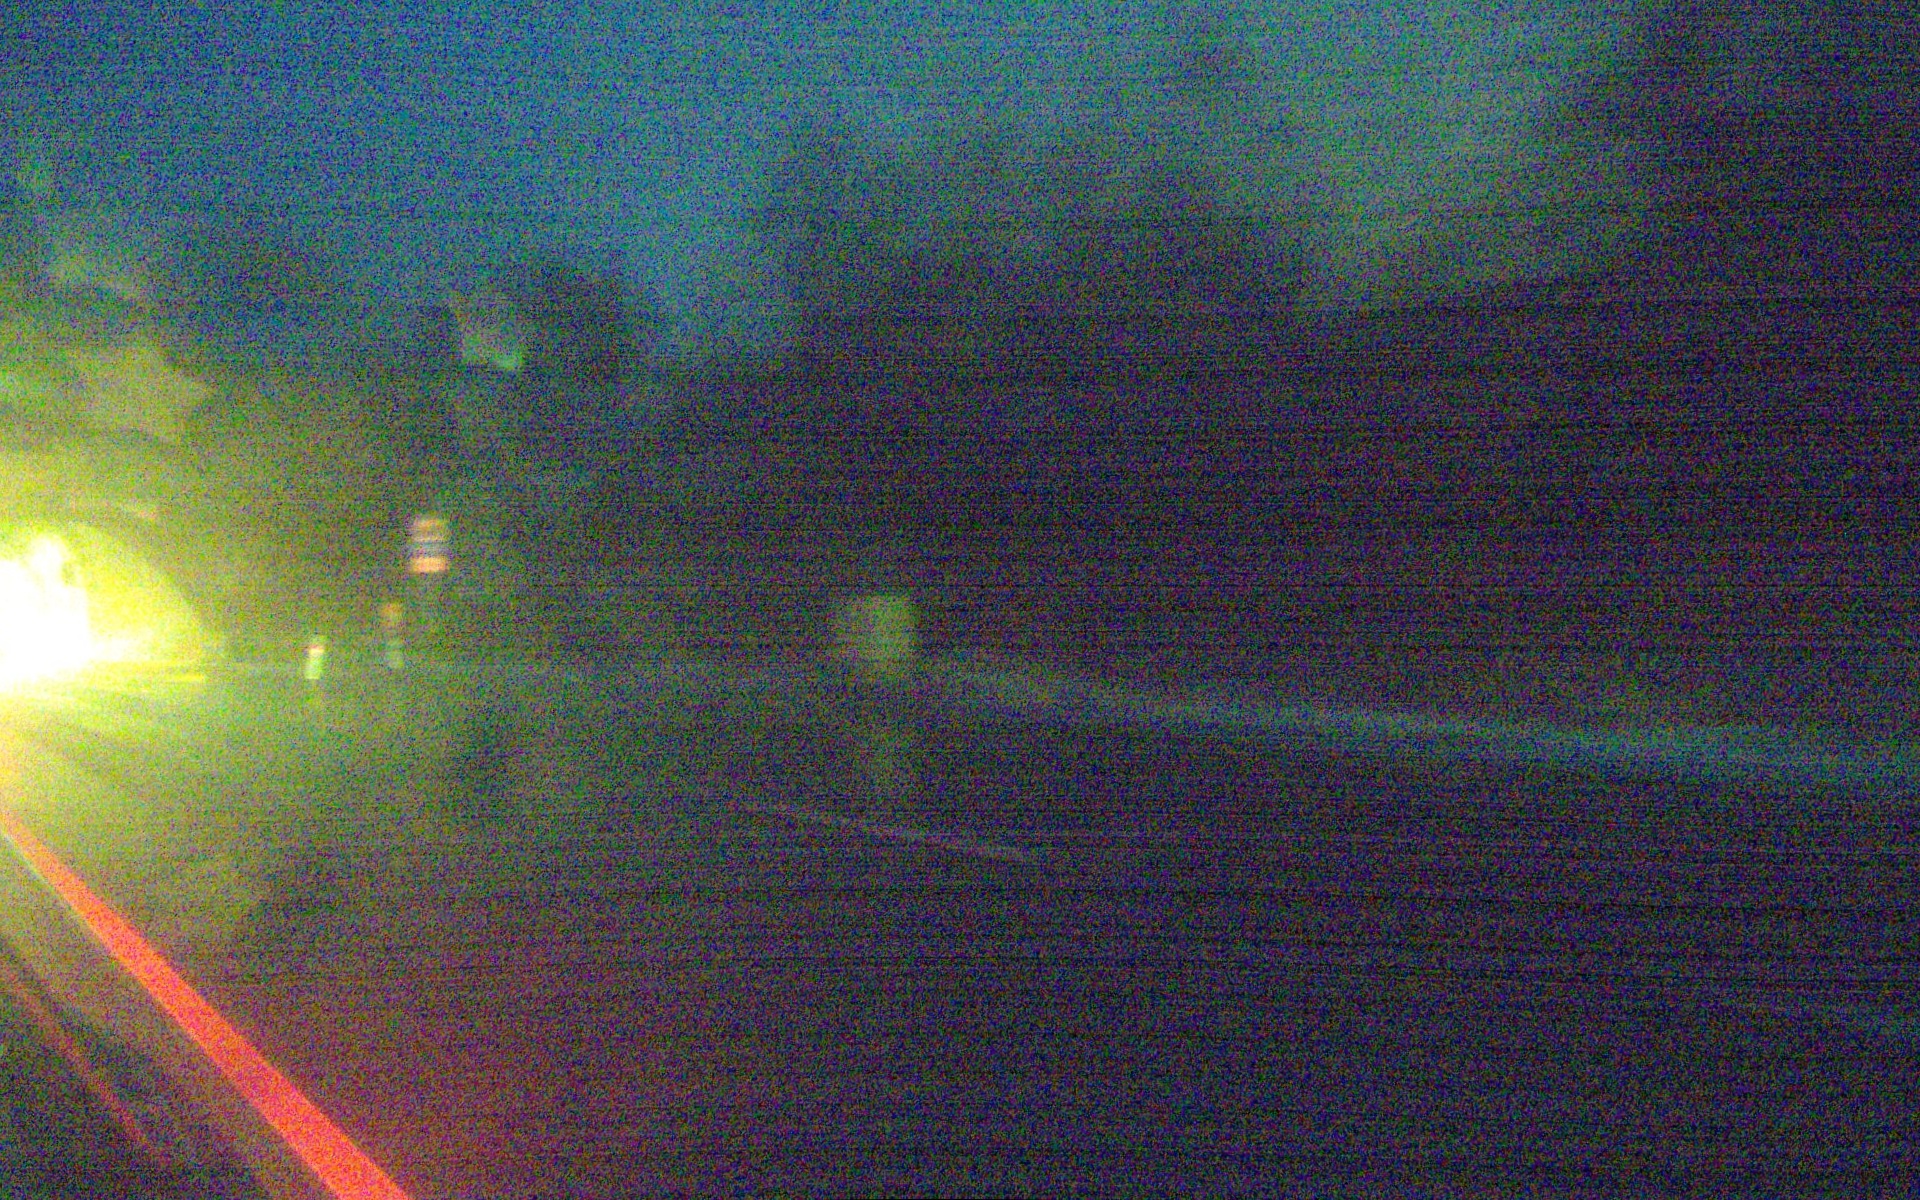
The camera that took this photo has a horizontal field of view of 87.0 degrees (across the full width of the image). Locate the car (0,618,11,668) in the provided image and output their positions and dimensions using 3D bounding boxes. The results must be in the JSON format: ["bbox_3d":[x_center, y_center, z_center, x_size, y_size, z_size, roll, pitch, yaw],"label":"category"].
[{"bbox_3d":[-30.875,1.338,31.191,4.274,1.485,1.973,-1,0,41],"label":"car"}]
